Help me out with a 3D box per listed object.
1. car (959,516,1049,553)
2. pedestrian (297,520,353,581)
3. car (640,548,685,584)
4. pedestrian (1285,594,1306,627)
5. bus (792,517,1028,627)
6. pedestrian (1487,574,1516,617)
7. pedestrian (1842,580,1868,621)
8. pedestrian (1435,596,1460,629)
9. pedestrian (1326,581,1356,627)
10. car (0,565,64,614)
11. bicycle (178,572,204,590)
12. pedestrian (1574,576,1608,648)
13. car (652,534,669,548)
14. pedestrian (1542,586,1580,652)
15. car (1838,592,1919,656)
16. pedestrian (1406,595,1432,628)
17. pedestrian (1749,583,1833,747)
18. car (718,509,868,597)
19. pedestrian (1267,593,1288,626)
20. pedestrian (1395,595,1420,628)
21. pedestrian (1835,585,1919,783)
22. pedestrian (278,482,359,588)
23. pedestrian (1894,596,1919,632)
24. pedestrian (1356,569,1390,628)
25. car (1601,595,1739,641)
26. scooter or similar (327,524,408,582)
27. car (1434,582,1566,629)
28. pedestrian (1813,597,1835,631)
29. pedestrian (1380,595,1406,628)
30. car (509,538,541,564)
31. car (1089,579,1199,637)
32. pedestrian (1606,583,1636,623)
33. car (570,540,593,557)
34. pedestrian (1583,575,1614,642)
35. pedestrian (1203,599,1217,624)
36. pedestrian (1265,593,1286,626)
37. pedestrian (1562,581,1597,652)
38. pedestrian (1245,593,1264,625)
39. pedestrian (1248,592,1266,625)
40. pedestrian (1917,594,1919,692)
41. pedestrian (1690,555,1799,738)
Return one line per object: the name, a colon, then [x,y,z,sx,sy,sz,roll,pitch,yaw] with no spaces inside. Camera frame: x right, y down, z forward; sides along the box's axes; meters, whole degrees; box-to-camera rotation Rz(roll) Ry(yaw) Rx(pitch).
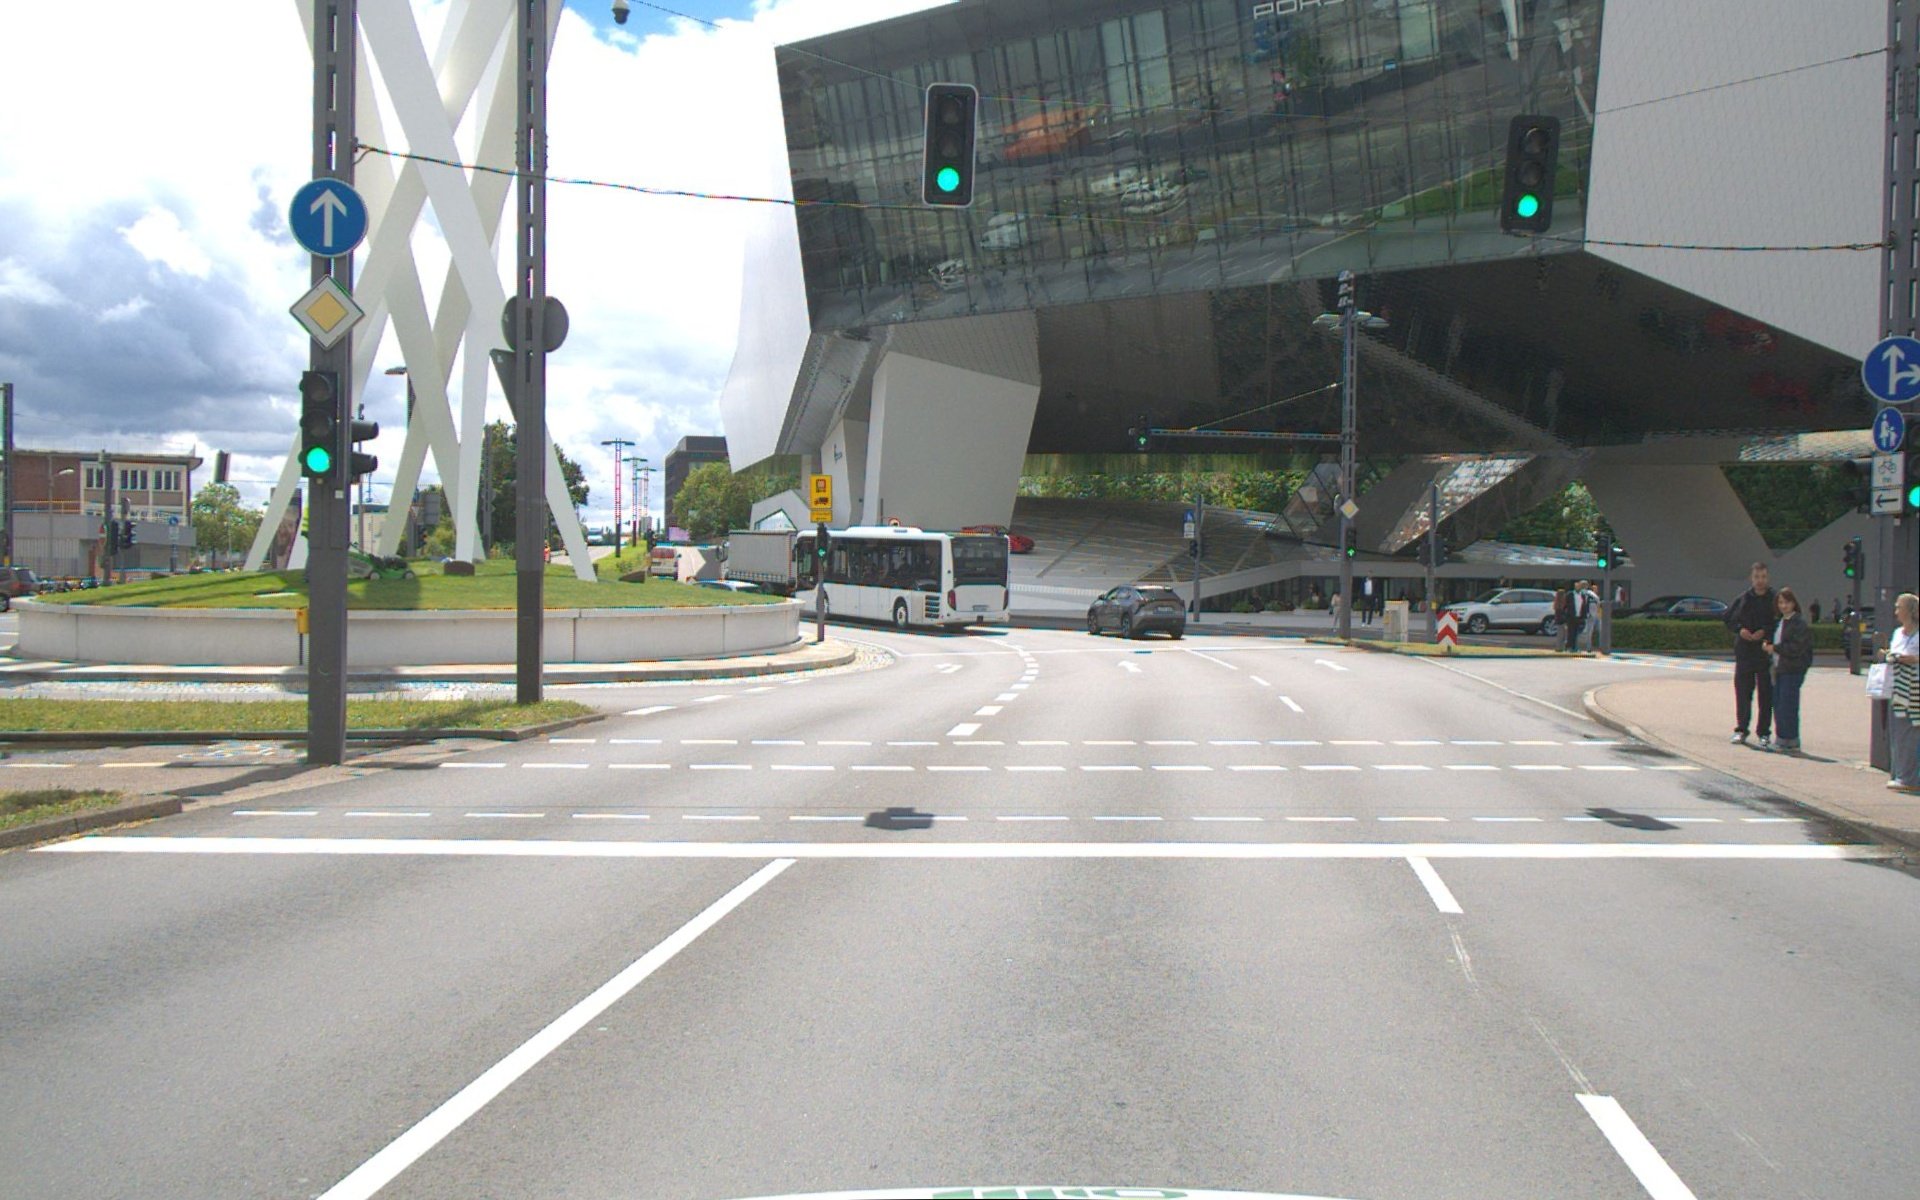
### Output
car: [2.312,-3.534,88.382,4.428,1.417,1.992,10,9,36]
pedestrian: [-16.086,-1.243,41.920,0.835,1.431,0.966,-5,-2,12]
car: [-17.469,-1.964,96.902,1.963,1.937,3.978,2,-1,-19]
pedestrian: [16.672,0.510,82.173,0.782,1.600,0.689,1,-1,42]
bus: [-2.089,-0.911,58.537,3.039,3.421,12.102,2,-1,-29]
pedestrian: [23.916,-0.211,73.094,0.815,1.858,0.918,2,-1,-19]
pedestrian: [44.676,0.028,82.572,0.815,2.049,0.770,2,-1,-28]
pedestrian: [24.019,0.622,81.517,0.813,1.600,0.920,2,-1,-12]
pedestrian: [12.881,0.140,55.950,0.578,1.522,0.760,2,-1,-42]
car: [-34.798,-0.410,59.529,3.908,1.665,1.999,2,-1,-4]
bicycle: [-37.383,-0.921,80.401,0.481,0.881,1.611,0,0,1]
pedestrian: [16.785,0.322,43.993,0.659,1.879,0.618,1,-1,35]
car: [-38.234,-7.521,211.240,1.956,1.664,4.648,2,2,-8]
pedestrian: [15.568,0.493,42.840,0.665,1.666,0.612,2,-1,-37]
car: [26.898,0.707,46.823,3.950,1.732,1.977,2,-1,-33]
pedestrian: [22.524,0.570,81.134,0.815,1.600,0.918,2,-1,-19]
pedestrian: [8.531,0.658,16.993,0.455,1.644,0.662,2,-1,-7]
car: [-7.584,-1.986,73.660,3.298,3.565,9.255,2,-1,-28]
pedestrian: [15.639,0.470,81.534,0.901,1.600,0.831,2,-1,17]
pedestrian: [22.182,0.548,82.025,0.815,1.600,0.918,2,-1,-19]
pedestrian: [8.034,0.707,14.147,0.646,1.636,0.823,2,-1,1]
pedestrian: [-11.946,-1.229,30.776,1.266,1.847,0.979,-3,7,-26]
pedestrian: [48.715,0.719,85.106,0.815,1.769,0.770,2,-1,-28]
pedestrian: [14.672,-0.070,58.793,0.933,2.019,1.382,2,2,6]
car: [24.444,0.599,56.998,4.073,1.407,1.833,2,1,-13]
scooter or similar: [-11.203,-0.891,31.271,1.385,1.043,0.545,-1,6,-29]
car: [18.488,0.196,56.763,3.908,1.577,1.837,0,-1,-4]
pedestrian: [46.186,0.767,88.399,0.821,1.769,0.765,2,-1,-42]
pedestrian: [21.270,0.564,81.264,0.815,1.600,0.918,2,-1,-19]
car: [-33.816,-3.803,128.451,1.964,2.018,4.809,0,2,-20]
car: [5.704,0.271,51.731,1.962,1.665,3.981,-2,-1,-17]
pedestrian: [29.039,0.120,72.669,0.815,1.705,0.918,2,-1,-19]
car: [-35.814,-4.880,156.663,1.722,1.421,4.666,2,3,-8]
pedestrian: [17.312,0.222,44.851,0.595,1.790,0.618,1,-1,36]
pedestrian: [13.317,0.614,88.065,0.549,1.275,0.473,1,-1,30]
pedestrian: [15.788,0.486,82.712,0.901,1.600,0.831,1,-1,19]
pedestrian: [16.275,0.440,43.446,0.660,1.826,0.617,1,-1,37]
pedestrian: [14.774,0.455,82.944,0.810,1.600,0.924,1,-1,18]
pedestrian: [14.727,0.439,81.909,0.810,1.600,0.924,2,-1,13]
pedestrian: [15.987,0.705,26.811,0.679,1.614,0.921,1,-1,22]
pedestrian: [8.365,0.493,17.655,0.651,1.899,0.787,2,-1,-24]
